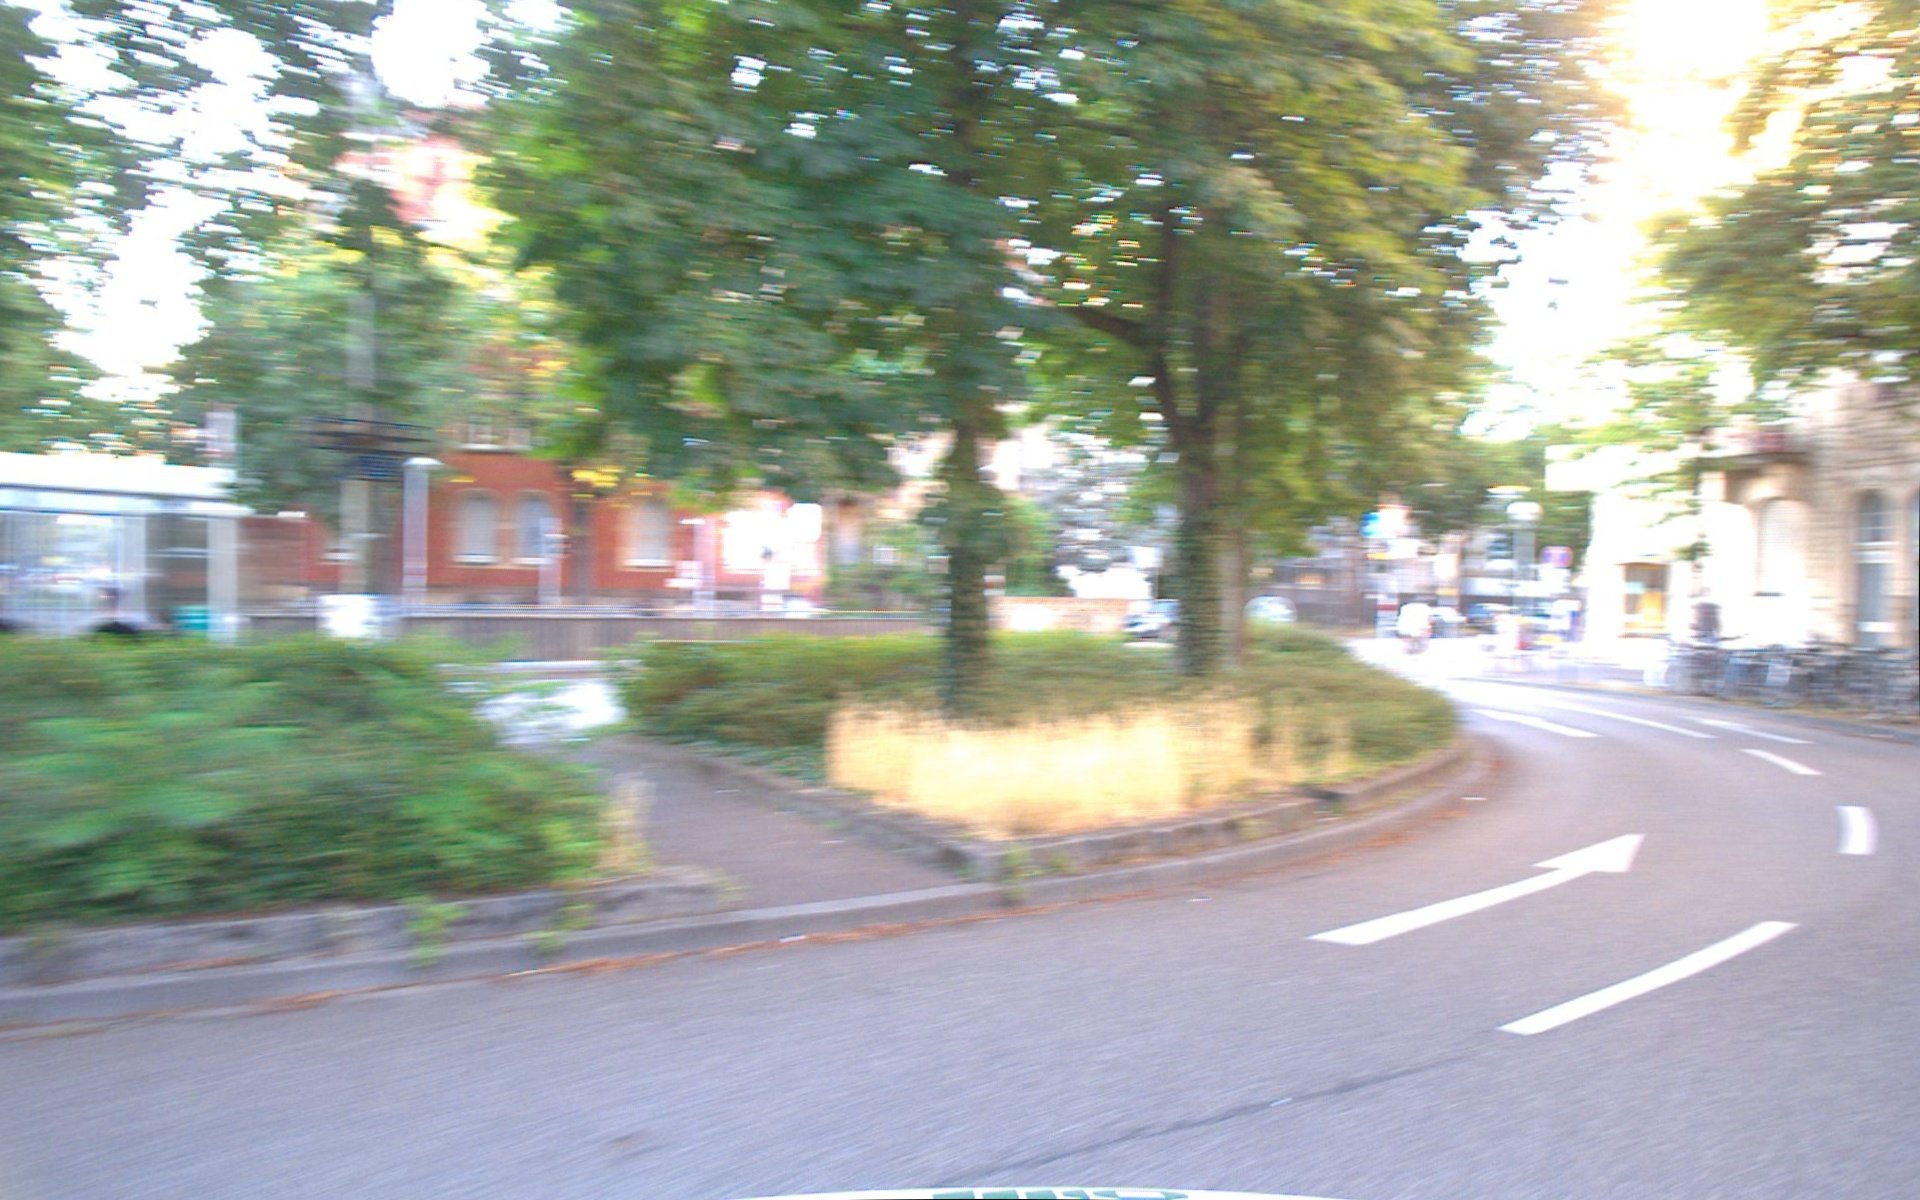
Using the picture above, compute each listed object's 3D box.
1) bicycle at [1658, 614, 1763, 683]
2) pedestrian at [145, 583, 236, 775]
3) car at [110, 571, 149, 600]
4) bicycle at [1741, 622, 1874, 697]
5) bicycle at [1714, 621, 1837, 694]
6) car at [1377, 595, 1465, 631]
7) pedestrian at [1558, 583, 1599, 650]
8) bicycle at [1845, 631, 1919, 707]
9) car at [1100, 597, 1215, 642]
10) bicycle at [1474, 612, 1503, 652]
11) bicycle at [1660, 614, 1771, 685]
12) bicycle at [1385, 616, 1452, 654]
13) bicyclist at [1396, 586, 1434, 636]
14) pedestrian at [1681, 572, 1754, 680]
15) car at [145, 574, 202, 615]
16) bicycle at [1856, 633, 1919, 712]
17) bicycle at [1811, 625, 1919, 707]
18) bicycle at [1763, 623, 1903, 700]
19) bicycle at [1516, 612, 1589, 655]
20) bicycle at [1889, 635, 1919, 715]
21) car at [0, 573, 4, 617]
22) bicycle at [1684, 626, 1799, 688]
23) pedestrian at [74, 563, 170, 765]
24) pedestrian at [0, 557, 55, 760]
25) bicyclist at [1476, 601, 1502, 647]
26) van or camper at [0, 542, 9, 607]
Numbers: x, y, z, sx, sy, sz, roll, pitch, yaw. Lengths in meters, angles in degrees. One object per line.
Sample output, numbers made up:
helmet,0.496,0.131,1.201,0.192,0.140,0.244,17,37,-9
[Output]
bicycle,14.167,0.913,31.216,1.756,1.258,0.649,1,0,-12
pedestrian,-6.060,0.602,13.009,0.609,1.456,0.650,1,0,-27
car,-53.125,-0.930,105.757,1.972,1.733,4.674,2,-1,-29
bicycle,13.899,0.970,27.163,1.847,1.183,0.640,1,0,0
bicycle,13.753,0.966,27.899,1.851,1.183,0.639,1,0,-11
car,20.837,0.593,74.680,1.917,1.536,4.602,1,0,43
pedestrian,17.192,0.450,46.019,0.849,1.826,0.925,1,0,7
bicycle,14.182,1.031,24.696,1.634,1.097,0.486,1,0,6
car,7.176,0.706,59.856,1.917,1.536,4.391,1,0,43
bicycle,17.181,1.030,53.749,0.683,1.258,1.862,1,0,25
bicycle,13.748,0.903,30.114,1.755,1.258,0.698,1,0,-11
bicycle,13.398,1.023,48.384,1.754,1.073,0.698,1,0,-10
bicyclist,13.303,0.314,48.368,0.846,1.436,0.698,1,0,-9
pedestrian,15.156,0.510,33.100,0.989,2.122,1.061,0,1,2
car,-35.741,-0.257,75.116,1.972,1.733,4.674,2,-1,-29
bicycle,13.776,1.043,23.673,1.636,1.097,0.486,1,0,-1
bicycle,13.858,0.992,25.030,1.634,1.147,0.487,1,6,7
bicycle,13.920,0.975,26.402,1.847,1.183,0.704,1,0,0
bicycle,16.801,0.942,46.930,1.832,1.150,0.732,1,0,4
bicycle,13.962,1.052,23.161,1.636,1.097,0.486,1,0,-1
car,-39.898,-0.297,64.014,4.904,1.733,1.977,2,-1,-33
bicycle,13.812,1.008,29.250,1.768,1.056,0.698,1,0,-11
pedestrian,-6.267,0.462,12.380,0.609,1.456,0.650,1,0,-27
pedestrian,-7.004,0.412,12.128,0.609,1.456,0.650,1,0,-27
bicyclist,17.183,0.777,53.740,0.683,1.487,0.783,1,0,25
van or camper,-49.758,-1.370,79.006,7.297,3.137,2.643,2,-1,-33
